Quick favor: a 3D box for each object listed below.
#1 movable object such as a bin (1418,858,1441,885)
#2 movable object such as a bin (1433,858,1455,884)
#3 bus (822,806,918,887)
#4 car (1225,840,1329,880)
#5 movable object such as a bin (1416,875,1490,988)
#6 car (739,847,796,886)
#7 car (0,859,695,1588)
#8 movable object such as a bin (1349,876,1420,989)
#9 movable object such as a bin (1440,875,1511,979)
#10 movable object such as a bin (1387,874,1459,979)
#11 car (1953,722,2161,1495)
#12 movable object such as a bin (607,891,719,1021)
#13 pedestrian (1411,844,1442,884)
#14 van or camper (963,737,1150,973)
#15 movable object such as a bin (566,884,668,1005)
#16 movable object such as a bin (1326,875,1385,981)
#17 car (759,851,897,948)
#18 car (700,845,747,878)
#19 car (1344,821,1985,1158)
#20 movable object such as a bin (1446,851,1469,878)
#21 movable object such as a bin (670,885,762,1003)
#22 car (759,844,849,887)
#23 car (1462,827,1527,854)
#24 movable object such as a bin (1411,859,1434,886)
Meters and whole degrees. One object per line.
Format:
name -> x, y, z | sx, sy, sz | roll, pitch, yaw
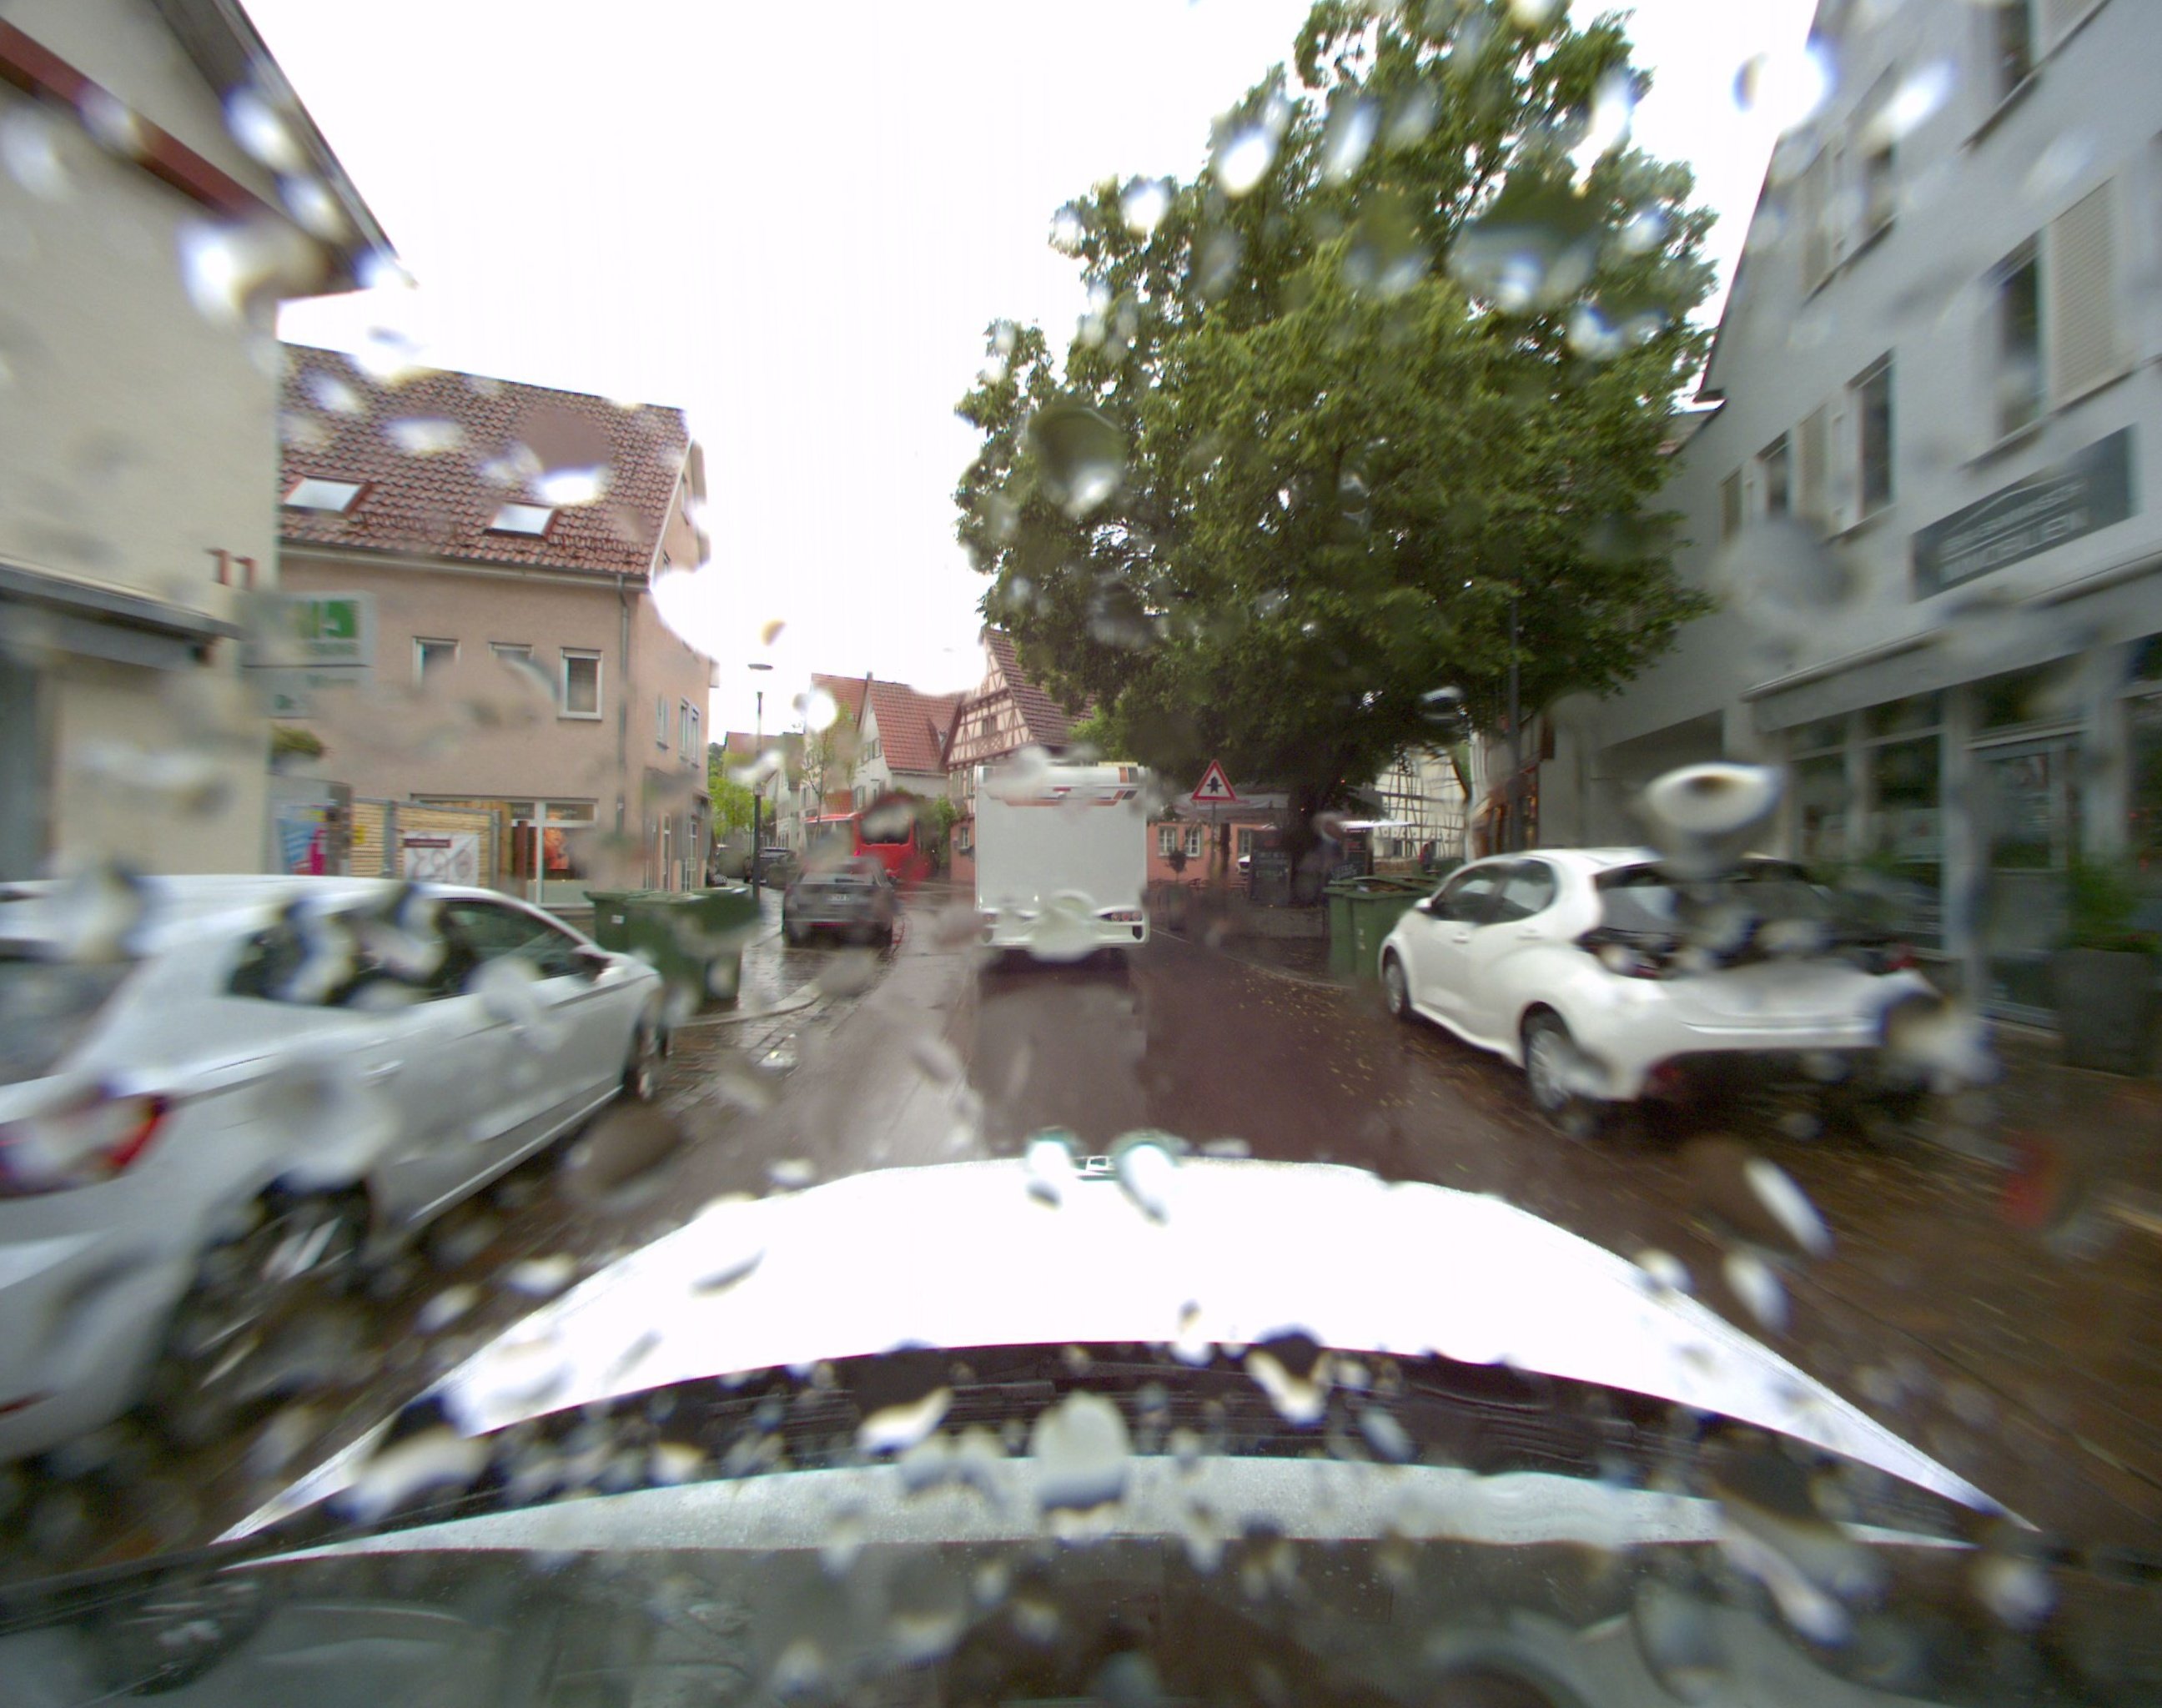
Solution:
movable object such as a bin -> 14.301, 0.723, 33.461 | 0.658, 1.093, 0.600 | 0, -1, -33
movable object such as a bin -> 15.136, 0.705, 33.963 | 0.658, 1.093, 0.600 | 0, -1, -33
bus -> -9.468, -0.262, 36.031 | 2.656, 3.227, 6.542 | 0, -1, -28
car -> 8.705, 0.232, 36.043 | 4.484, 1.631, 1.925 | 0, 2, -34
movable object such as a bin -> 3.931, 0.801, 8.633 | 0.529, 1.149, 0.500 | 0, -1, -6
car -> -13.192, 0.516, 34.144 | 1.603, 1.546, 3.938 | 0, -1, -30
car -> -3.169, 0.759, 3.416 | 1.689, 1.423, 3.807 | 0, 0, -7
movable object such as a bin -> 3.228, 0.817, 8.693 | 0.533, 1.149, 0.500 | 0, -1, -6
movable object such as a bin -> 4.569, 0.825, 9.459 | 0.502, 1.149, 0.579 | 0, -1, -5
movable object such as a bin -> 3.916, 0.809, 9.349 | 0.543, 1.149, 0.584 | 0, -1, -6
car -> 3.125, 0.536, 0.198 | 1.683, 1.689, 3.960 | 0, -1, 3
movable object such as a bin -> -3.736, 0.893, 7.316 | 0.690, 1.087, 0.546 | 2, -1, -4
pedestrian -> 13.192, 0.377, 31.096 | 0.846, 1.518, 0.752 | 0, -1, -40
van or camper -> -0.477, 0.034, 13.345 | 2.321, 2.919, 6.385 | 0, -1, -3
movable object such as a bin -> -4.528, 0.862, 7.986 | 0.658, 1.109, 0.623 | 0, -1, -4
movable object such as a bin -> 3.135, 0.827, 9.324 | 0.476, 1.169, 0.488 | 0, -1, -6
car -> -4.327, 0.711, 14.593 | 1.995, 1.454, 4.355 | 0, -1, -13
car -> -19.363, 0.403, 44.034 | 1.783, 1.675, 4.436 | 2, -2, -30
car -> 3.386, 0.645, 5.957 | 1.683, 1.539, 4.406 | 0, -1, 3
movable object such as a bin -> 15.864, 0.443, 34.325 | 0.658, 1.093, 0.600 | 0, -1, -33
movable object such as a bin -> -3.645, 0.877, 8.175 | 0.658, 1.109, 0.623 | 0, -1, -4
car -> -10.338, 0.391, 30.154 | 1.815, 1.433, 4.577 | 3, -1, -36
car -> 25.226, -0.797, 49.656 | 4.019, 1.530, 1.977 | 0, -1, -38
movable object such as a bin -> 13.802, 0.737, 32.934 | 0.658, 1.093, 0.600 | 0, -1, -33
